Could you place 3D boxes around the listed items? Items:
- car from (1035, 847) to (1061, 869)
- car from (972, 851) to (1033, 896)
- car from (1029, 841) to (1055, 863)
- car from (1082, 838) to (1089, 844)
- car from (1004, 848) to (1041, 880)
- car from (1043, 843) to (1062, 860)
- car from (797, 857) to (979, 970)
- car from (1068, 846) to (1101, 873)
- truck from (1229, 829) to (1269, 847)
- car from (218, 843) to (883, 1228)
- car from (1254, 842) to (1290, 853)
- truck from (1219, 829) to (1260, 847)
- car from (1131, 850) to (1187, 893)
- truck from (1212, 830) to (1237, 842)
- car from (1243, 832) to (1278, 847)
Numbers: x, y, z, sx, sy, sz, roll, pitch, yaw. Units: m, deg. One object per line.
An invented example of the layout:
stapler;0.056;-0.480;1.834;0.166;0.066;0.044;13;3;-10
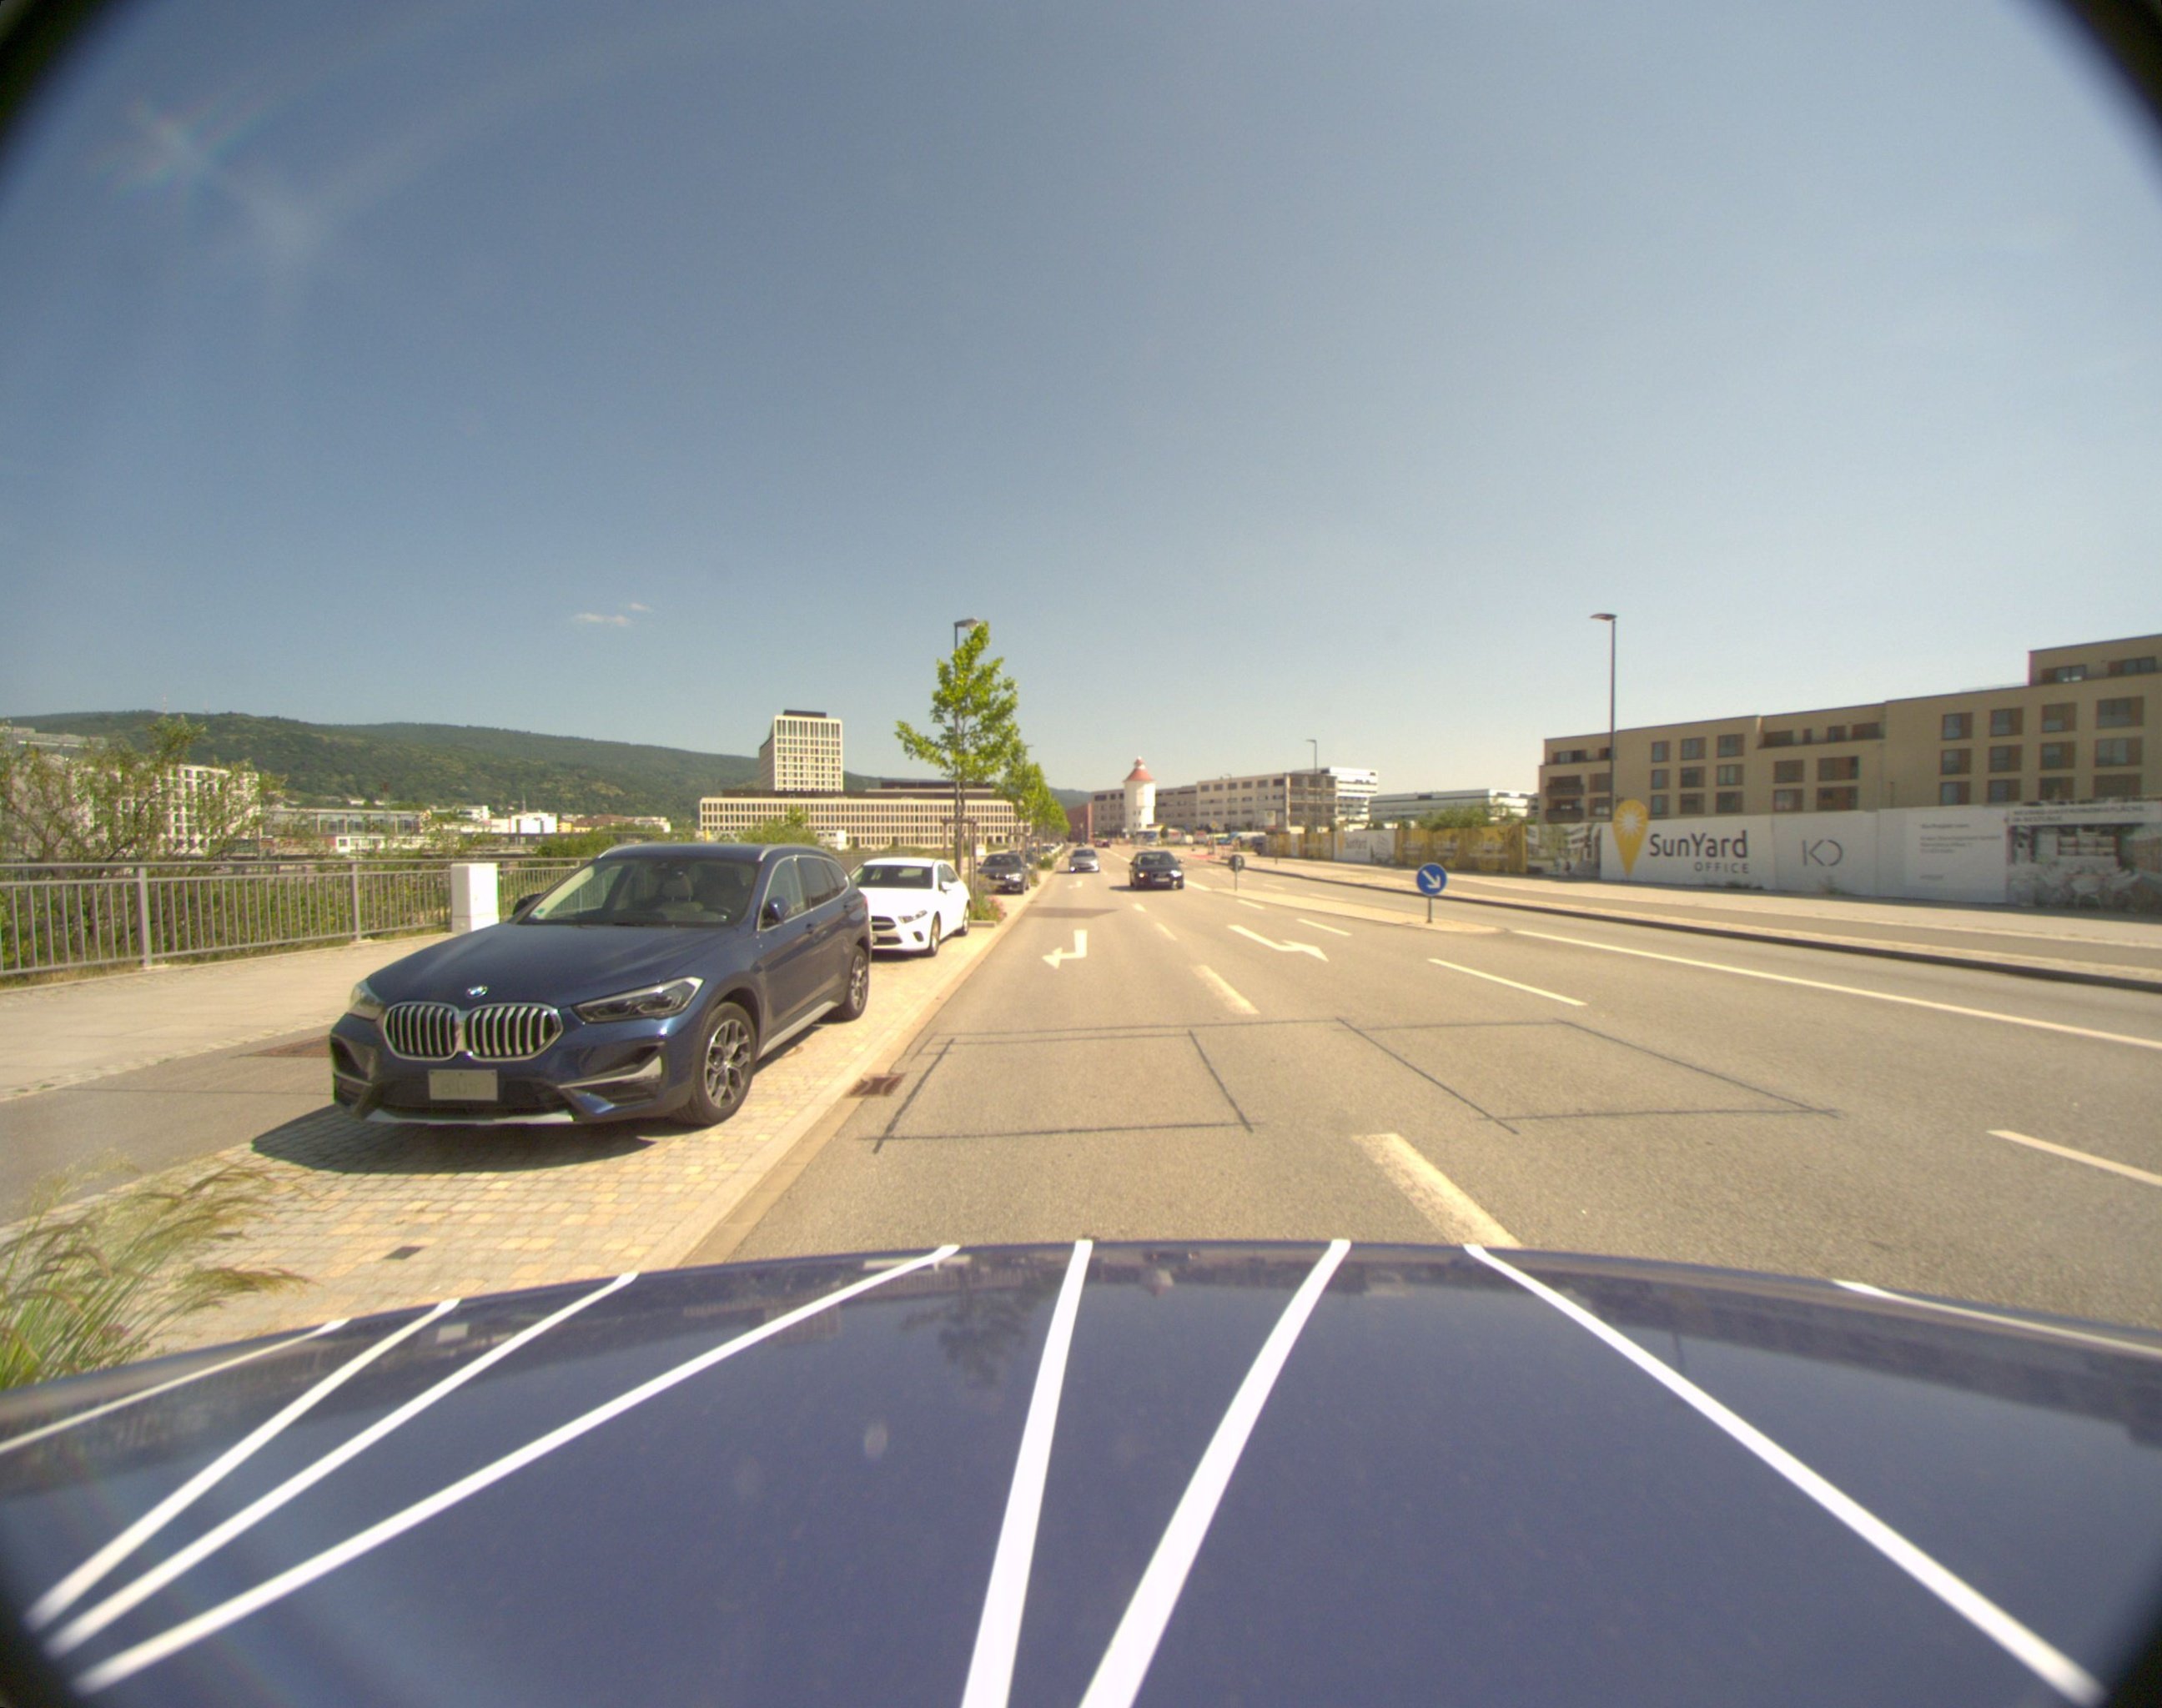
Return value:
car;-2.163;0.247;50.377;1.490;1.302;3.154;2;1;0
car;-2.800;0.642;27.848;1.808;1.424;3.915;2;1;0
car;-3.099;-0.162;61.045;1.768;1.609;3.374;-3;1;0
car;1.237;-3.640;211.004;1.819;1.458;4.347;-3;1;2
car;-2.922;0.470;38.199;1.569;1.465;3.006;2;1;0
car;-2.645;-0.255;70.058;1.526;1.482;3.504;-3;1;0
car;-2.910;0.817;12.448;1.710;1.366;4.270;2;1;2
car;0.238;0.296;46.407;1.820;1.459;4.346;-2;1;1
truck;23.411;-2.234;105.917;5.005;2.215;1.999;-2;1;-1
car;-2.906;0.785;5.509;1.808;1.674;4.270;1;1;0
car;19.612;-0.702;78.151;3.359;0.947;1.293;-2;1;3
truck;23.612;-2.429;113.302;5.633;2.461;1.999;-3;1;-4
car;2.885;0.606;28.693;1.709;1.404;3.999;-3;1;1
truck;33.383;-4.139;177.298;5.333;2.461;1.999;-3;1;-4
car;22.818;-1.844;96.525;3.930;1.708;1.891;-3;1;-5
